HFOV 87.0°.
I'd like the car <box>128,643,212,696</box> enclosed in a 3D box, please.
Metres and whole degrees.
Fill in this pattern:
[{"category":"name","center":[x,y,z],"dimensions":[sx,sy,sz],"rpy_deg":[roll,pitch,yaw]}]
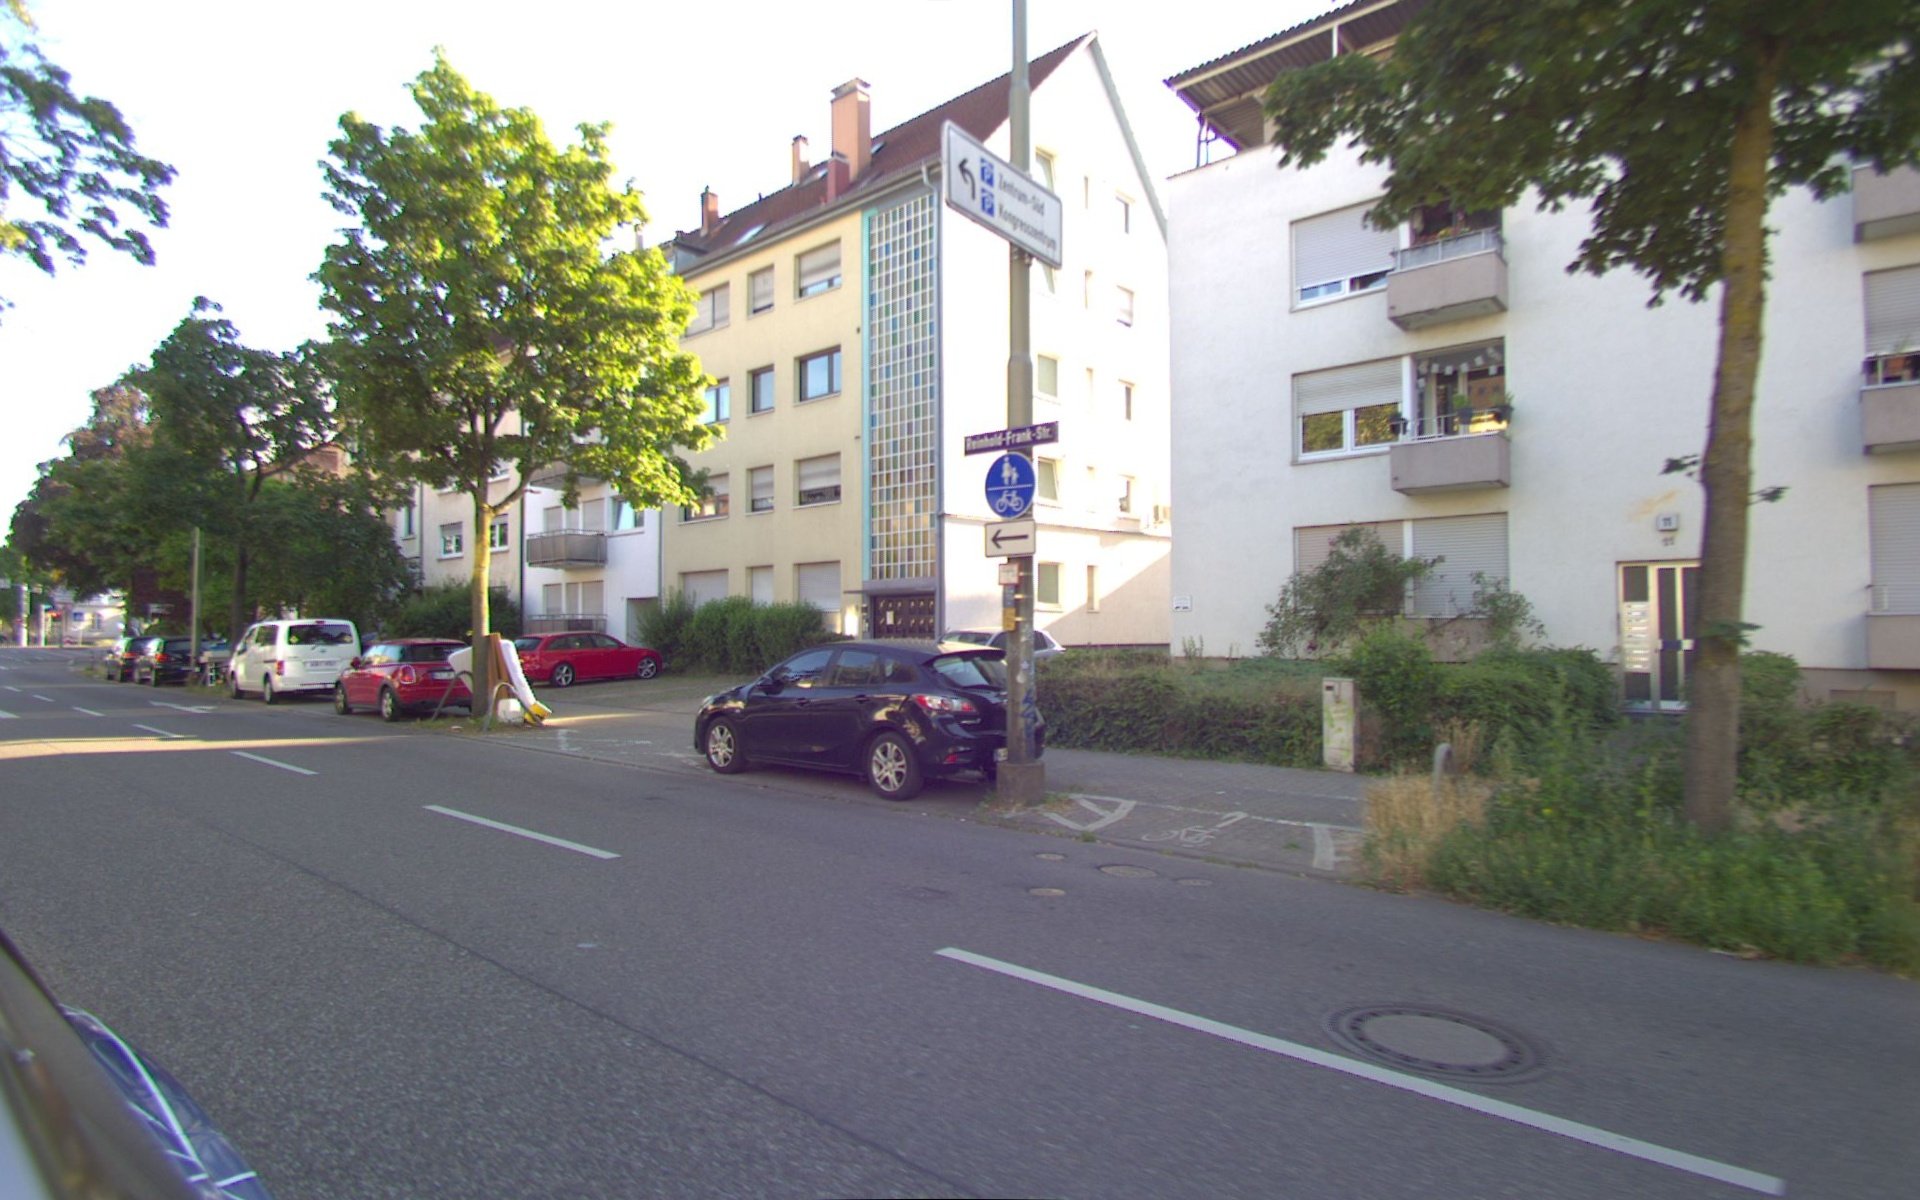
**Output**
[{"category":"car","center":[-23.946,2.056,30.645],"dimensions":[3.682,1.416,1.388],"rpy_deg":[-2,0,42]}]

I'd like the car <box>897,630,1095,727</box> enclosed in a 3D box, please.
[{"category":"car","center":[0.702,1.301,17.856],"dimensions":[1.686,1.535,3.422],"rpy_deg":[-2,-3,42]}]

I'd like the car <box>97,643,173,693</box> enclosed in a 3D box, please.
[{"category":"car","center":[-27.123,2.178,33.246],"dimensions":[3.682,1.475,1.388],"rpy_deg":[-2,0,42]}]

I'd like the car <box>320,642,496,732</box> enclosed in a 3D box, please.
[{"category":"car","center":[-10.279,1.531,18.766],"dimensions":[3.634,1.475,1.717],"rpy_deg":[-2,-3,41]}]

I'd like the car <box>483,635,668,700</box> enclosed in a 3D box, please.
[{"category":"car","center":[-10.135,1.731,27.027],"dimensions":[1.735,1.416,4.516],"rpy_deg":[-2,0,31]}]

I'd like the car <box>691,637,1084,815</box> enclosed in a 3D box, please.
[{"category":"car","center":[-0.883,1.152,10.609],"dimensions":[3.998,1.497,1.838],"rpy_deg":[-2,-3,41]}]

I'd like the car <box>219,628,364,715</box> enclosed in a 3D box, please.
[{"category":"car","center":[-15.481,1.588,23.363],"dimensions":[4.189,1.823,1.717],"rpy_deg":[-2,-3,41]}]
